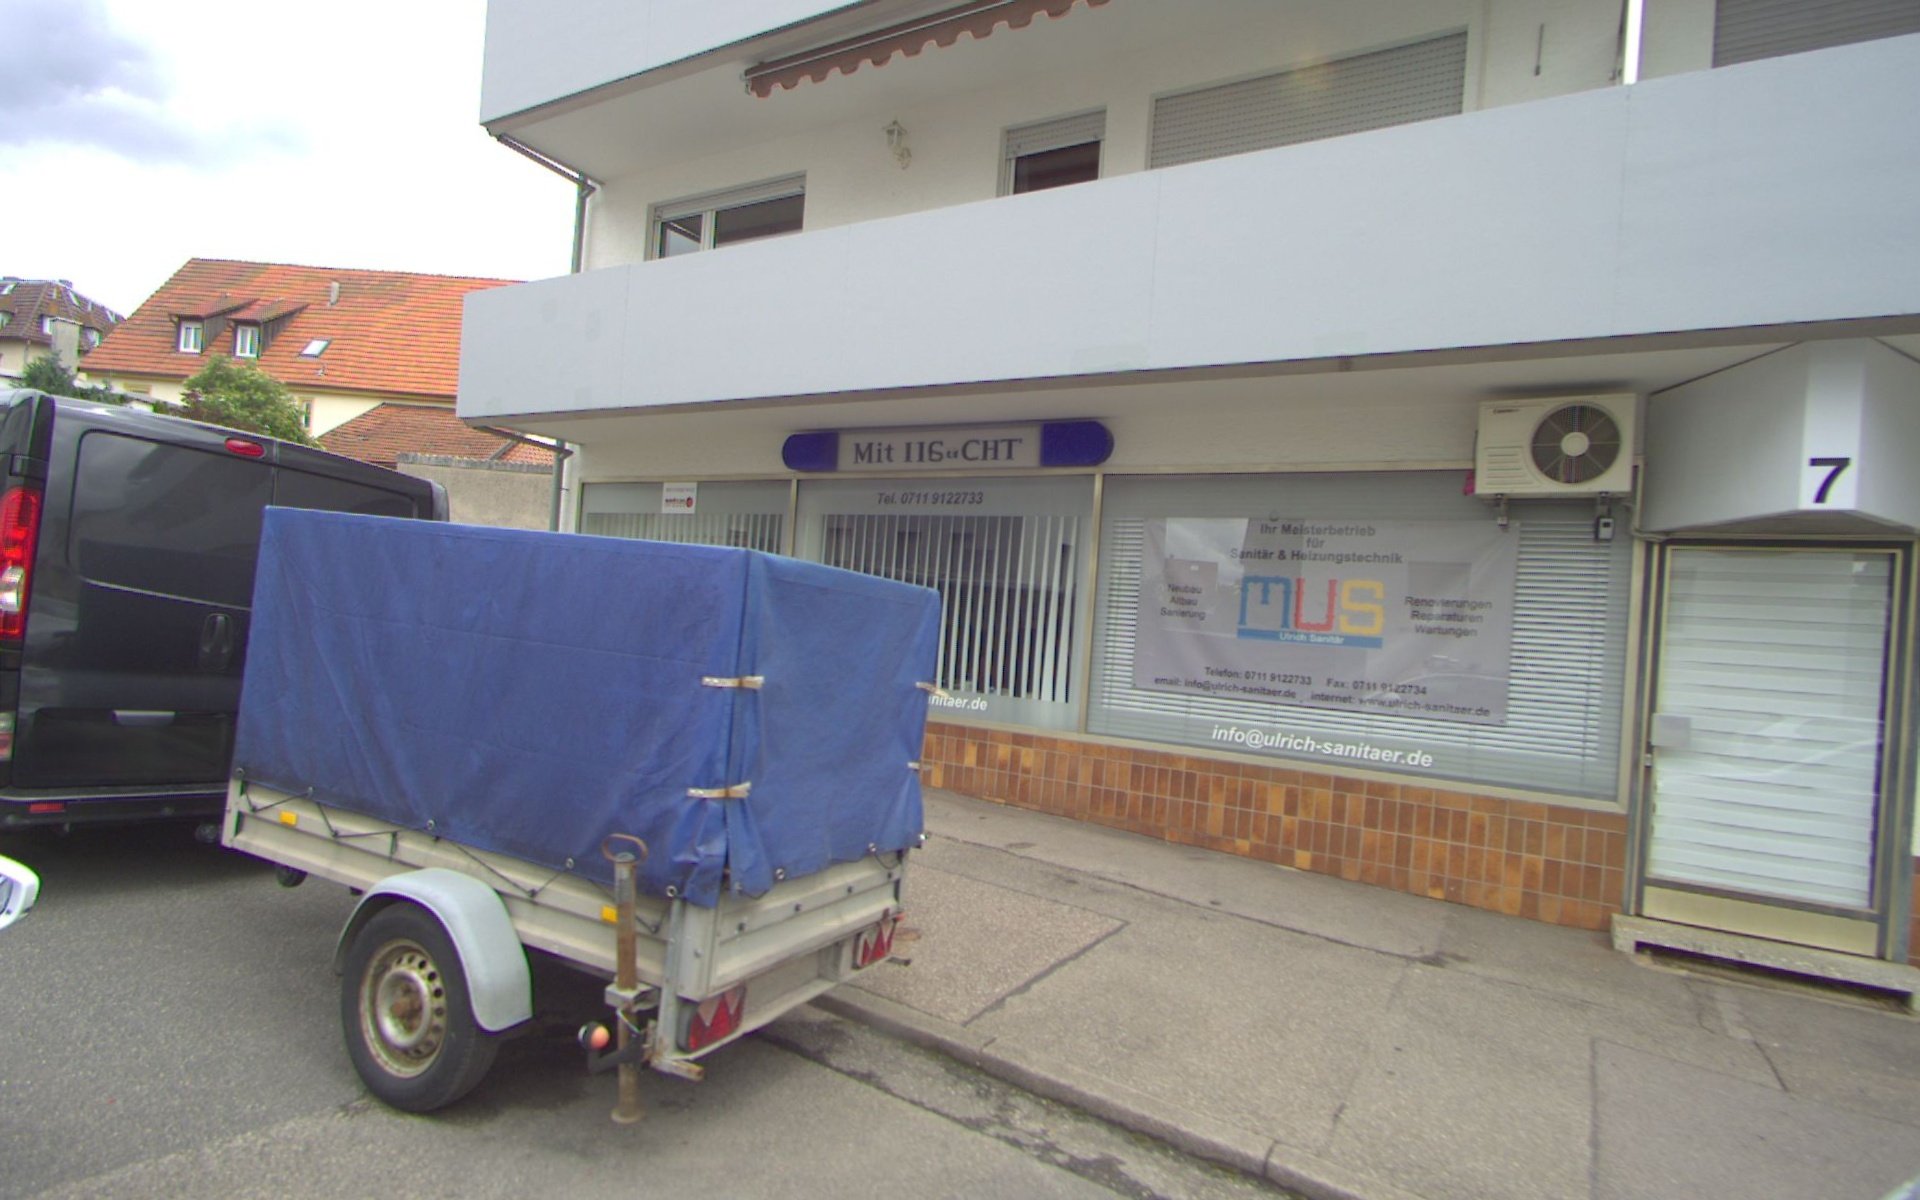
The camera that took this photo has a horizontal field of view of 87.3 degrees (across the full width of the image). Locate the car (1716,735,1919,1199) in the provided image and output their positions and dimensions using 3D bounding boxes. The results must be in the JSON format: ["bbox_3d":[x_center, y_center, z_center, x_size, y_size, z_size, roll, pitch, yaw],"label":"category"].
[{"bbox_3d":[3.176,1.157,0.503,4.262,1.472,1.612,6,-2,31],"label":"car"}]

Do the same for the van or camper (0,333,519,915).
[{"bbox_3d":[-5.024,-0.040,5.573,4.979,2.036,1.998,7,-2,31],"label":"van or camper"}]

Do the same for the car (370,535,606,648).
[{"bbox_3d":[-8.321,-0.092,17.994,1.697,1.504,3.321,7,-2,31],"label":"car"}]

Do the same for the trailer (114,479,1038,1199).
[{"bbox_3d":[-1.361,0.564,3.597,2.785,1.585,1.426,7,-1,26],"label":"trailer"}]
